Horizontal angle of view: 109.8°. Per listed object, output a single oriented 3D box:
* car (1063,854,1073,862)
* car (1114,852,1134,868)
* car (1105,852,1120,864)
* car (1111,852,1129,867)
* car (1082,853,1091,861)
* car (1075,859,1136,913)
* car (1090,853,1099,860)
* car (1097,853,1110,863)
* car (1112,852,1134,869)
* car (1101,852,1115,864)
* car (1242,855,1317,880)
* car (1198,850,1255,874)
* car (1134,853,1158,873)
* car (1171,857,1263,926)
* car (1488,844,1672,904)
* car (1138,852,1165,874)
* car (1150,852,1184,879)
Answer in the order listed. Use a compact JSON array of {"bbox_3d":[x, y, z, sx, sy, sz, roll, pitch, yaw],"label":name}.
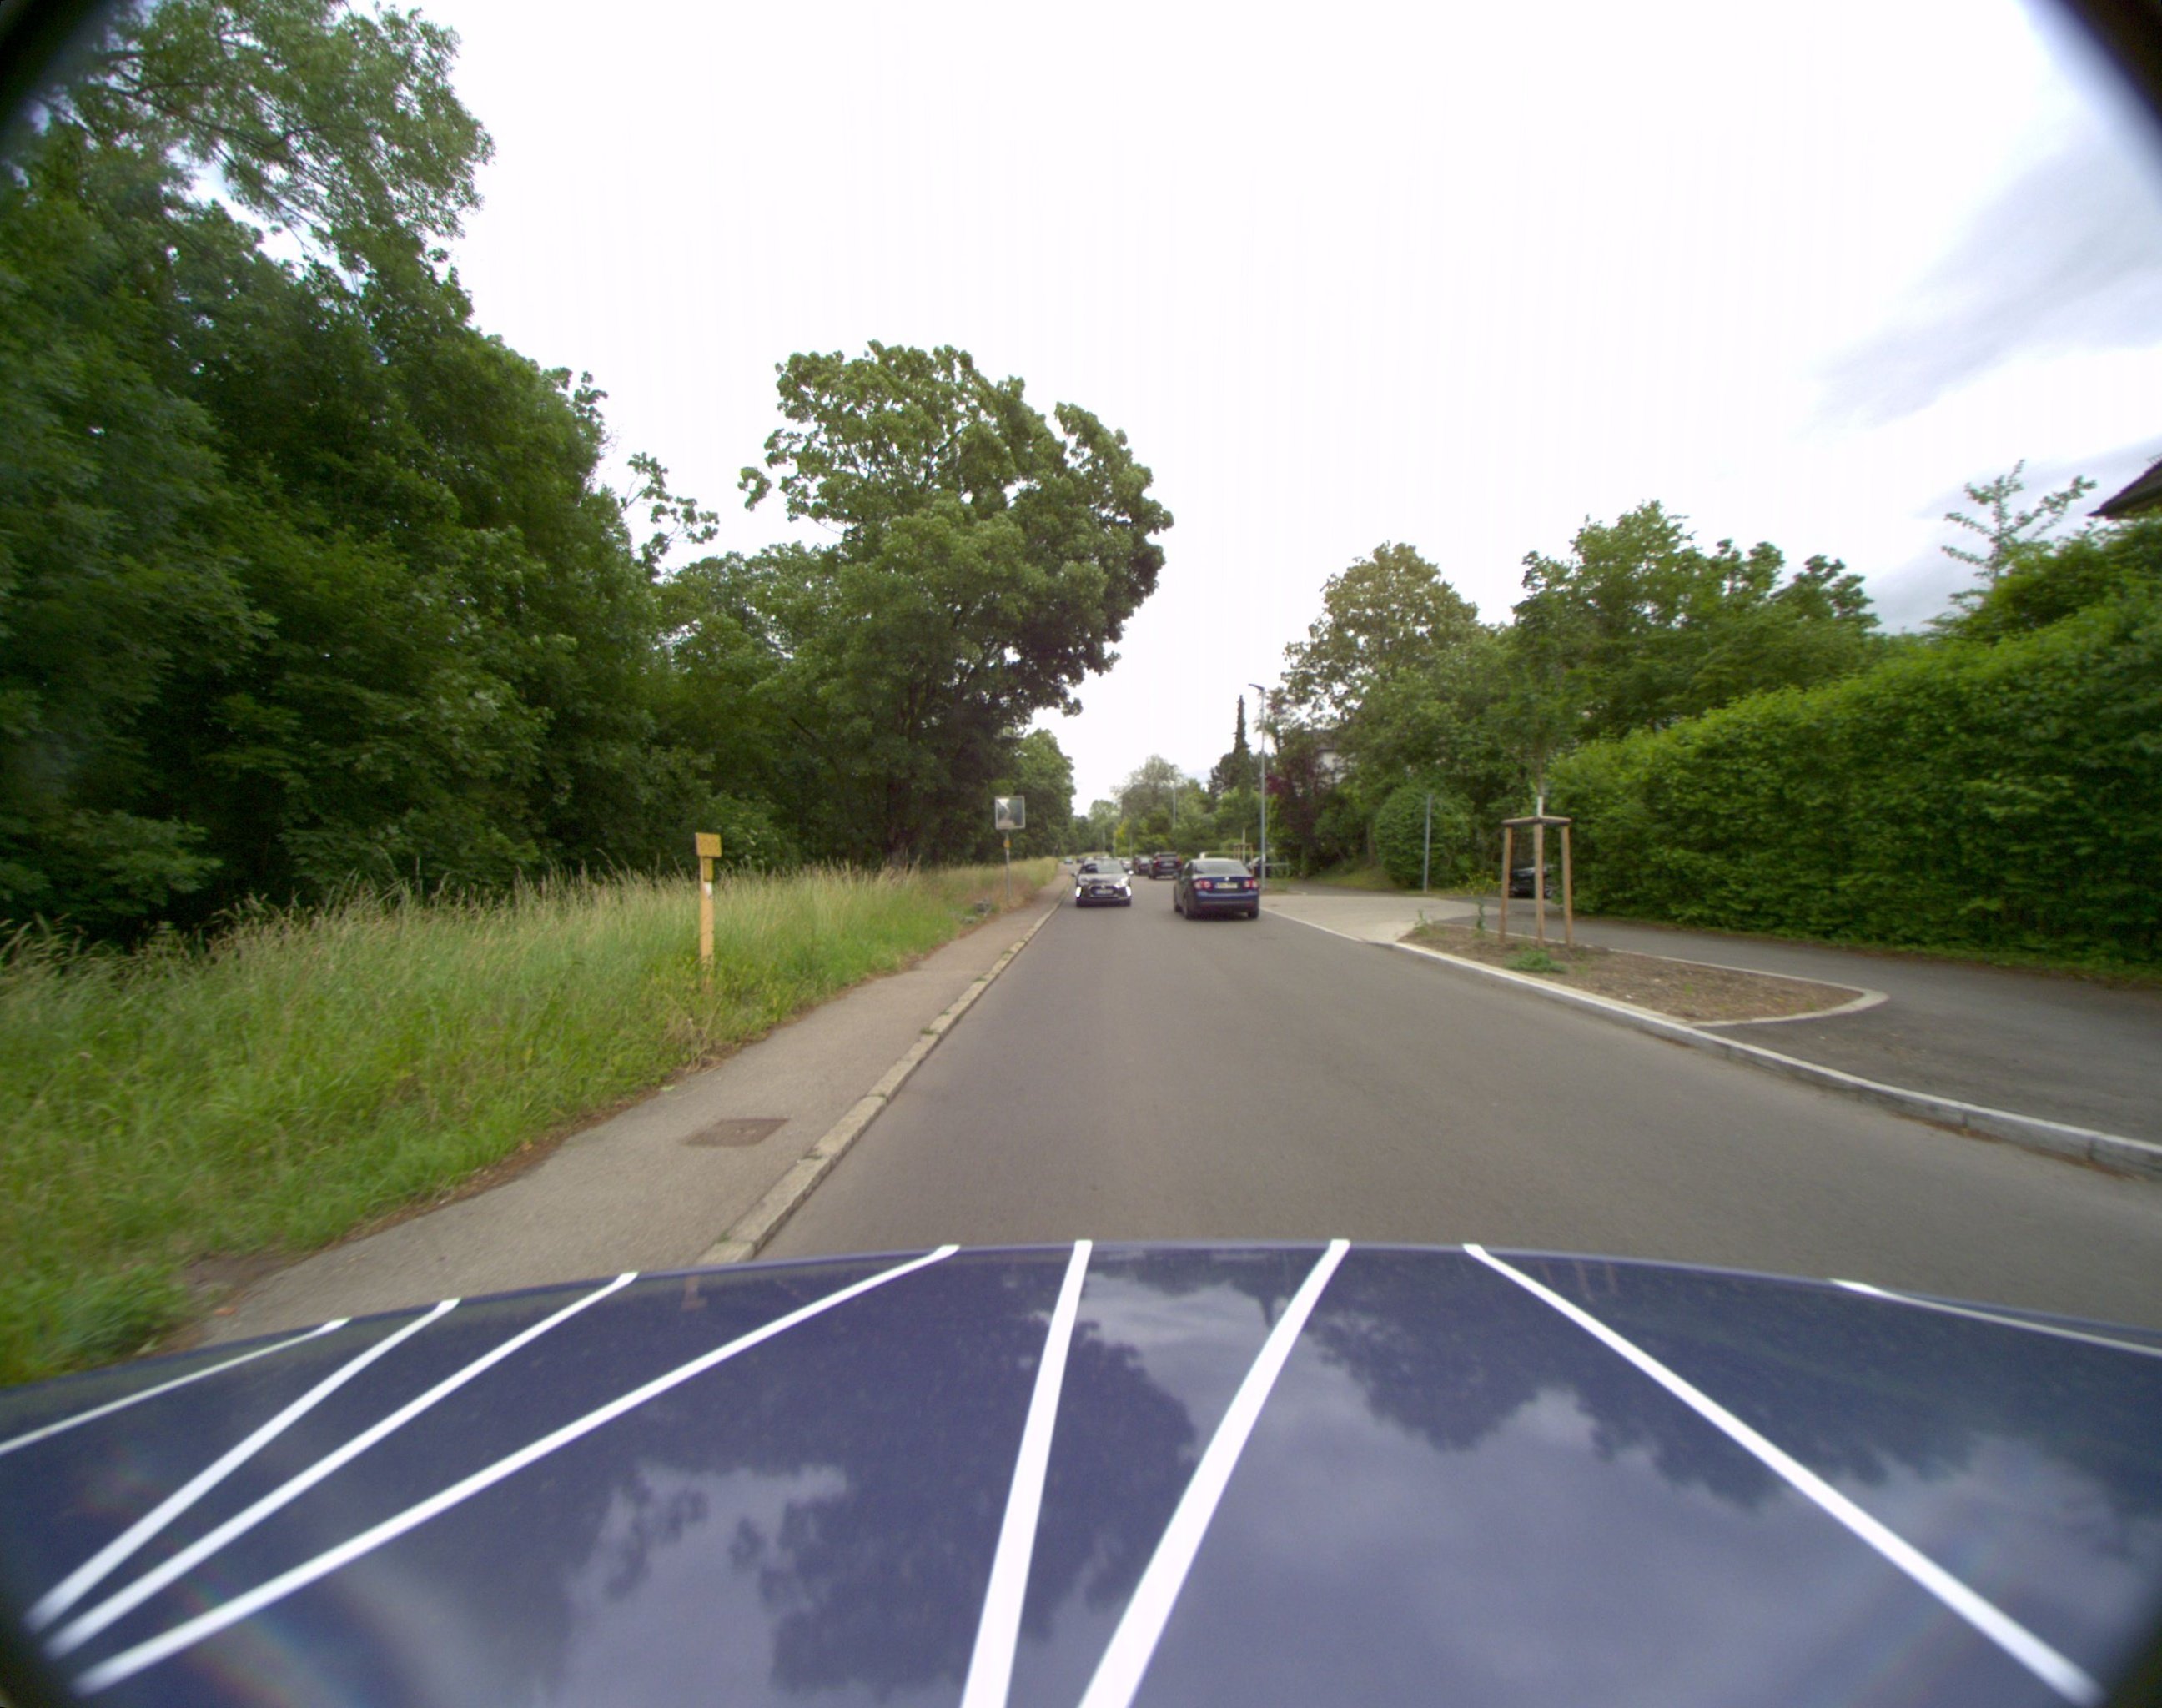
[{"bbox_3d":[-2.589,0.786,151.923,1.923,1.670,4.194,-2,0,-2],"label":"car"},{"bbox_3d":[4.739,0.659,84.562,1.922,1.670,4.194,-2,0,0],"label":"car"},{"bbox_3d":[4.524,0.555,109.139,1.922,1.670,4.194,-2,0,0],"label":"car"},{"bbox_3d":[4.562,0.595,89.689,1.922,1.670,4.194,-2,0,0],"label":"car"},{"bbox_3d":[1.161,0.632,165.682,1.922,1.670,4.194,-2,0,0],"label":"car"},{"bbox_3d":[0.790,0.928,23.699,1.711,1.466,4.195,-2,0,3],"label":"car"},{"bbox_3d":[3.105,0.600,177.182,1.922,1.670,4.194,-2,0,0],"label":"car"},{"bbox_3d":[3.646,0.641,125.319,1.922,1.670,4.194,-2,0,0],"label":"car"},{"bbox_3d":[4.329,0.645,78.858,1.922,1.670,4.194,-2,0,0],"label":"car"},{"bbox_3d":[4.044,0.629,114.923,1.922,1.670,4.194,-2,0,0],"label":"car"},{"bbox_3d":[11.067,0.749,42.465,3.773,1.306,1.641,-2,0,3],"label":"car"},{"bbox_3d":[10.148,0.548,53.116,3.772,1.581,1.642,-2,0,8],"label":"car"},{"bbox_3d":[5.657,0.752,66.408,1.922,1.670,4.196,-2,0,3],"label":"car"},{"bbox_3d":[3.279,0.852,19.030,1.711,1.466,4.196,-2,0,3],"label":"car"},{"bbox_3d":[14.225,0.546,21.817,4.129,1.549,1.683,-2,0,2],"label":"car"},{"bbox_3d":[5.610,0.690,60.733,1.922,1.670,4.196,-2,0,3],"label":"car"},{"bbox_3d":[5.549,0.702,49.652,1.922,1.670,4.196,-2,0,3],"label":"car"}]
